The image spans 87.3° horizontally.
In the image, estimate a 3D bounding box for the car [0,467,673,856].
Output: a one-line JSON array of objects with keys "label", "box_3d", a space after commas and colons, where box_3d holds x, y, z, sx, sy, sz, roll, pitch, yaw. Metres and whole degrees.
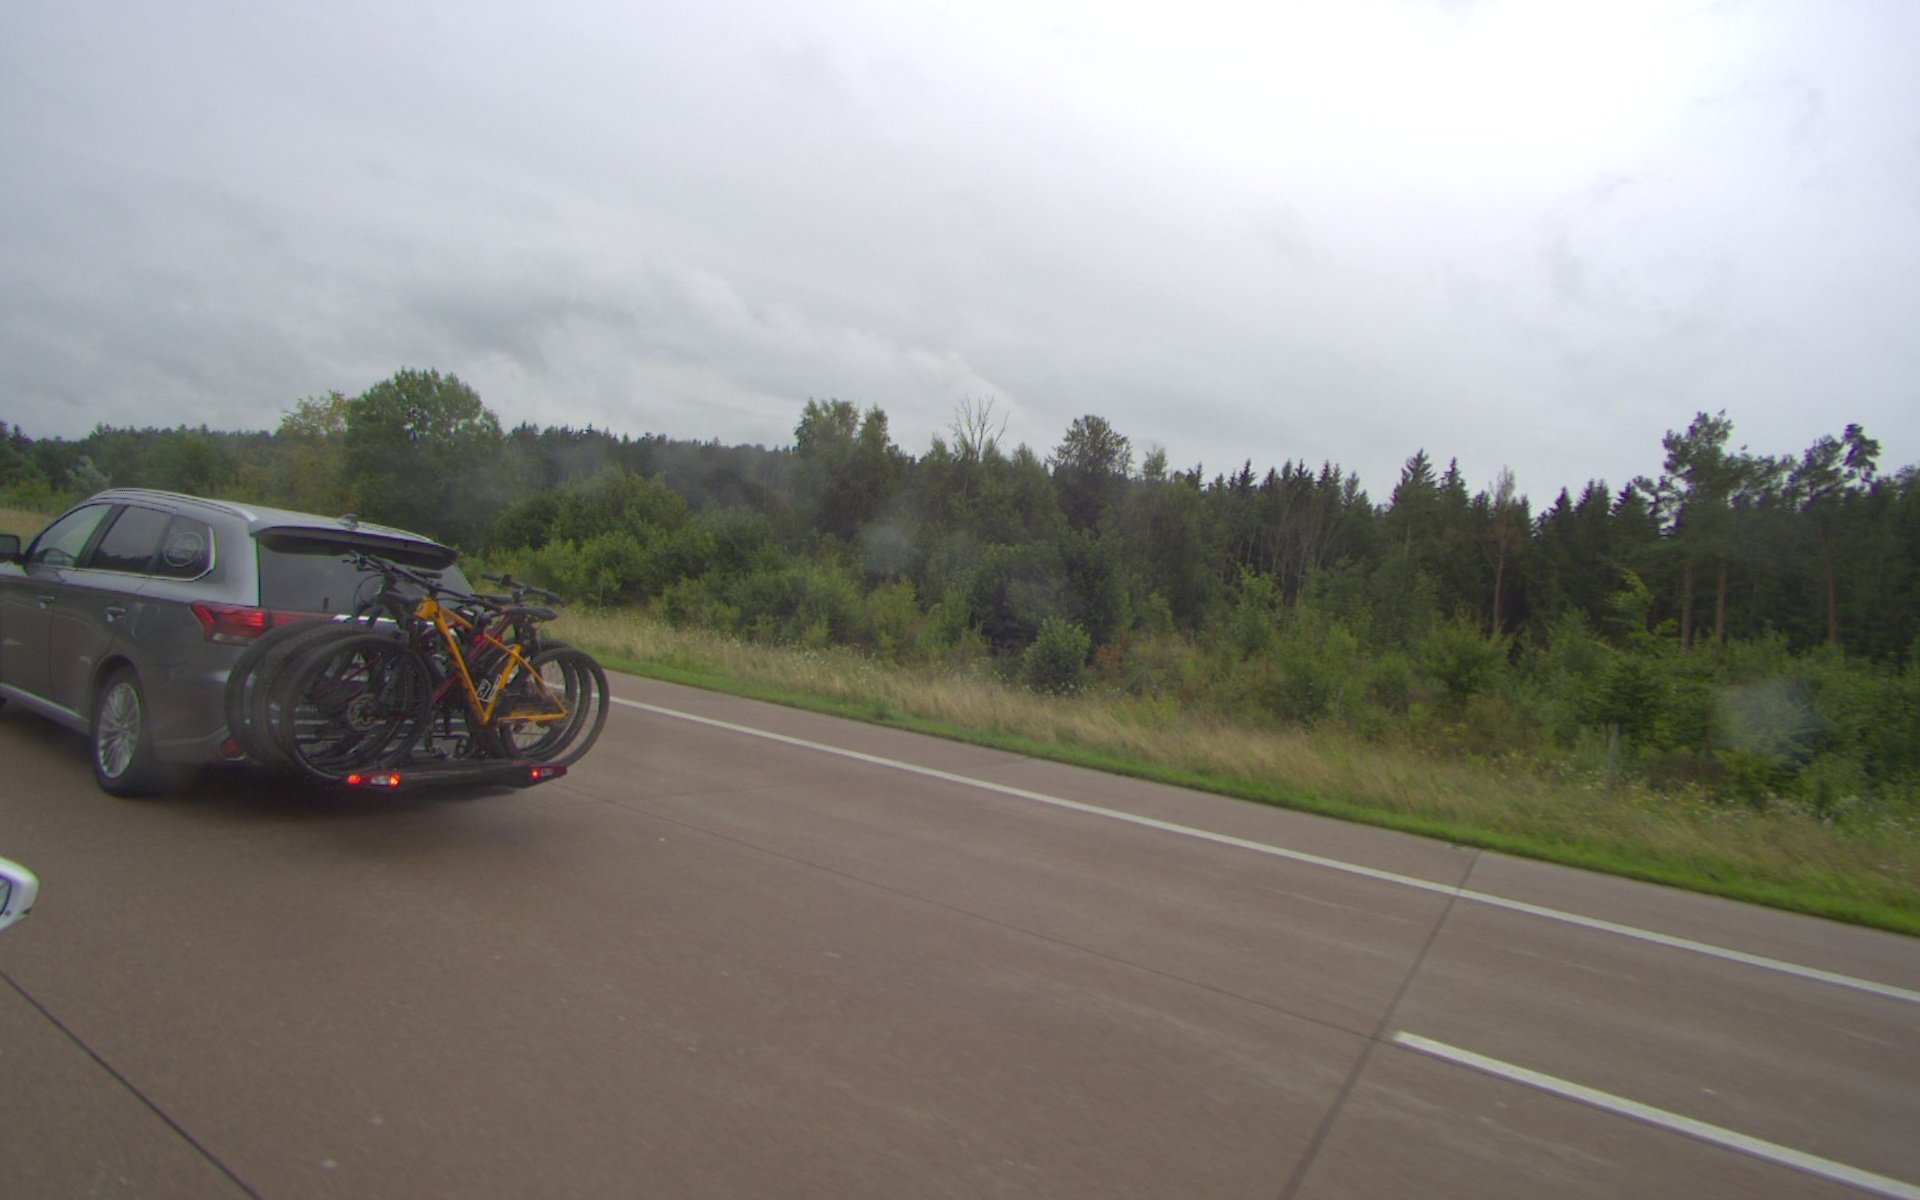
[{"label": "car", "box_3d": [-4.740, 0.152, 6.631, 5.723, 1.611, 1.998, 6, -2, 31]}]
